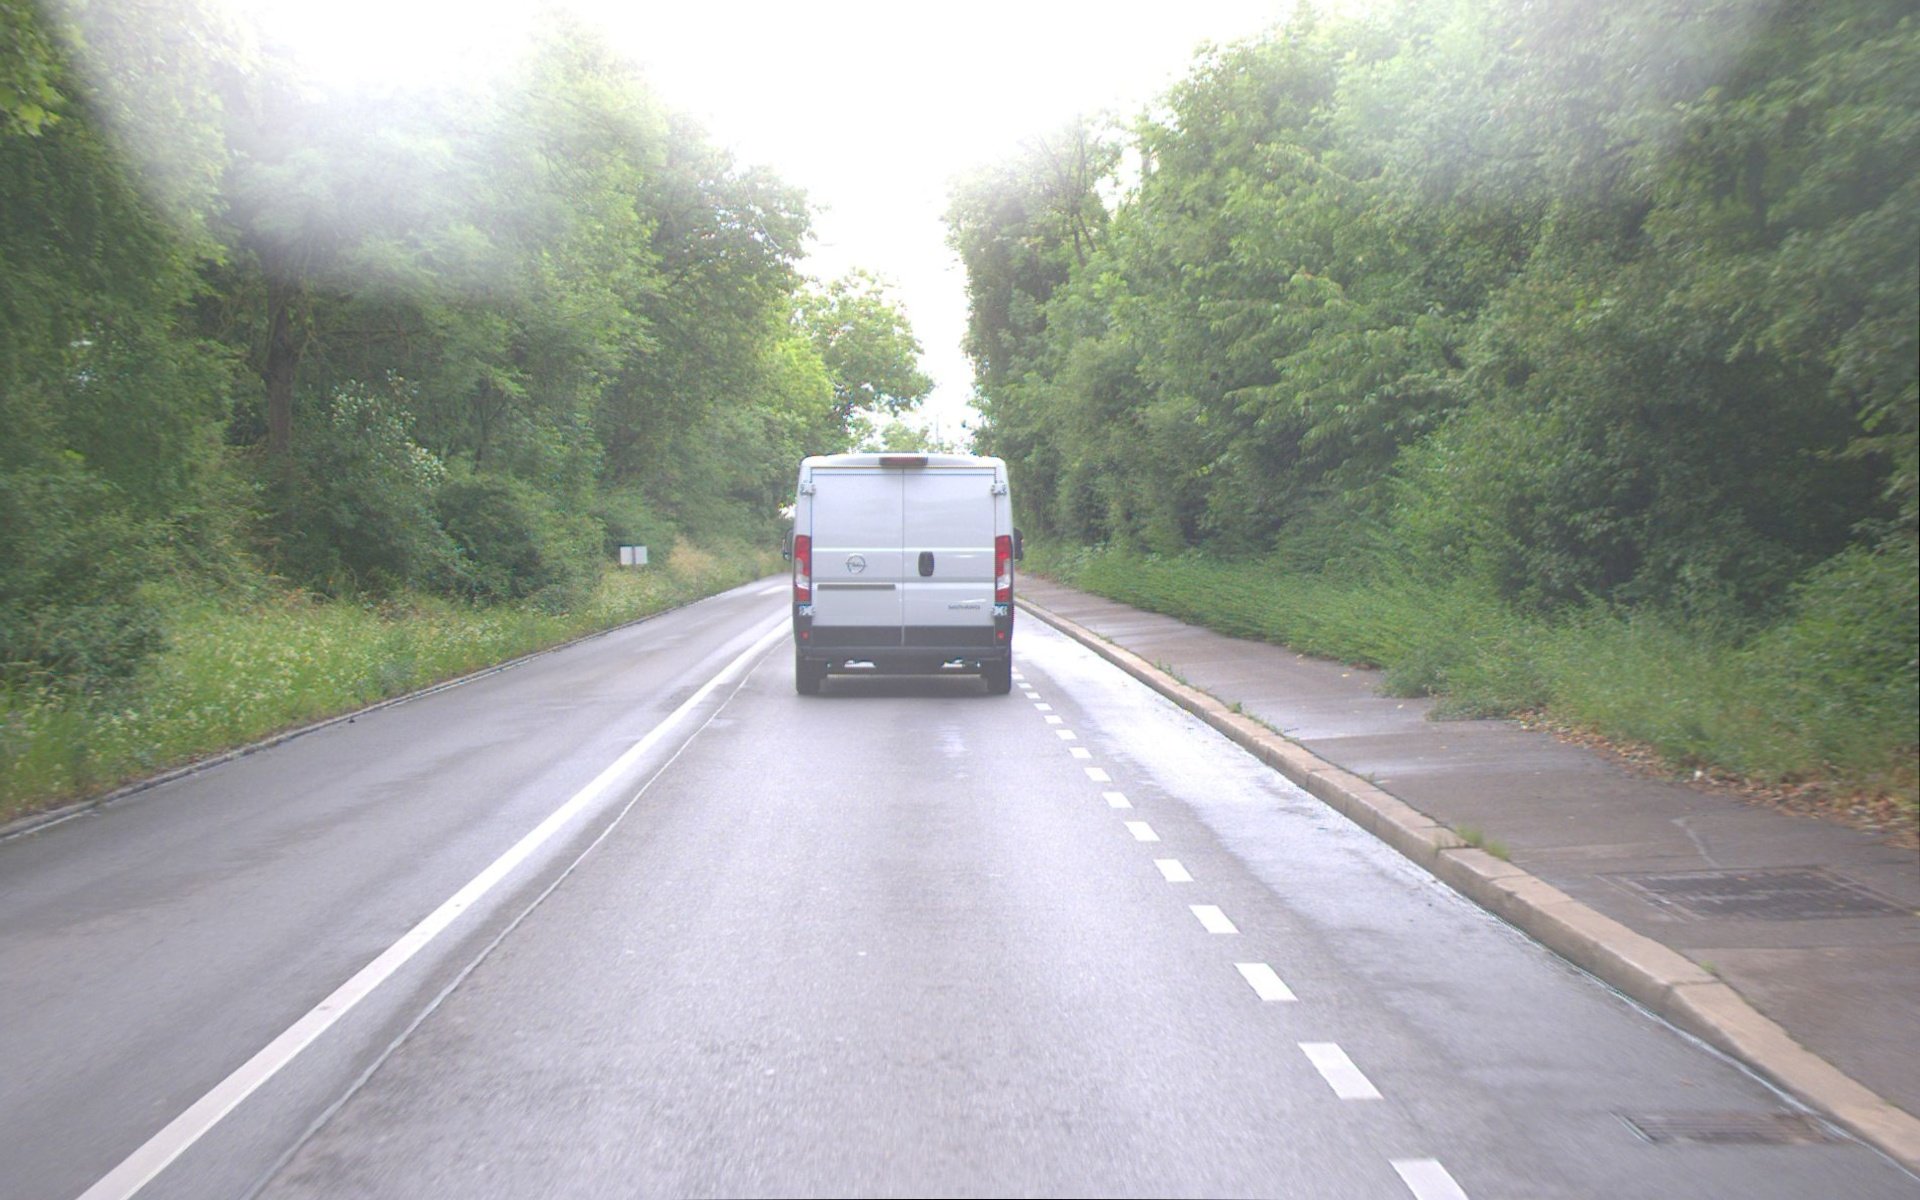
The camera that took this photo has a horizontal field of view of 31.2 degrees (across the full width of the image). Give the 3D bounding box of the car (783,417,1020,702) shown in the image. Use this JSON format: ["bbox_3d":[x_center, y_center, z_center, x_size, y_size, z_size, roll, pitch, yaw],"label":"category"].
[{"bbox_3d":[-0.554,-0.432,33.520,2.050,2.508,4.944,2,2,-1],"label":"car"}]
